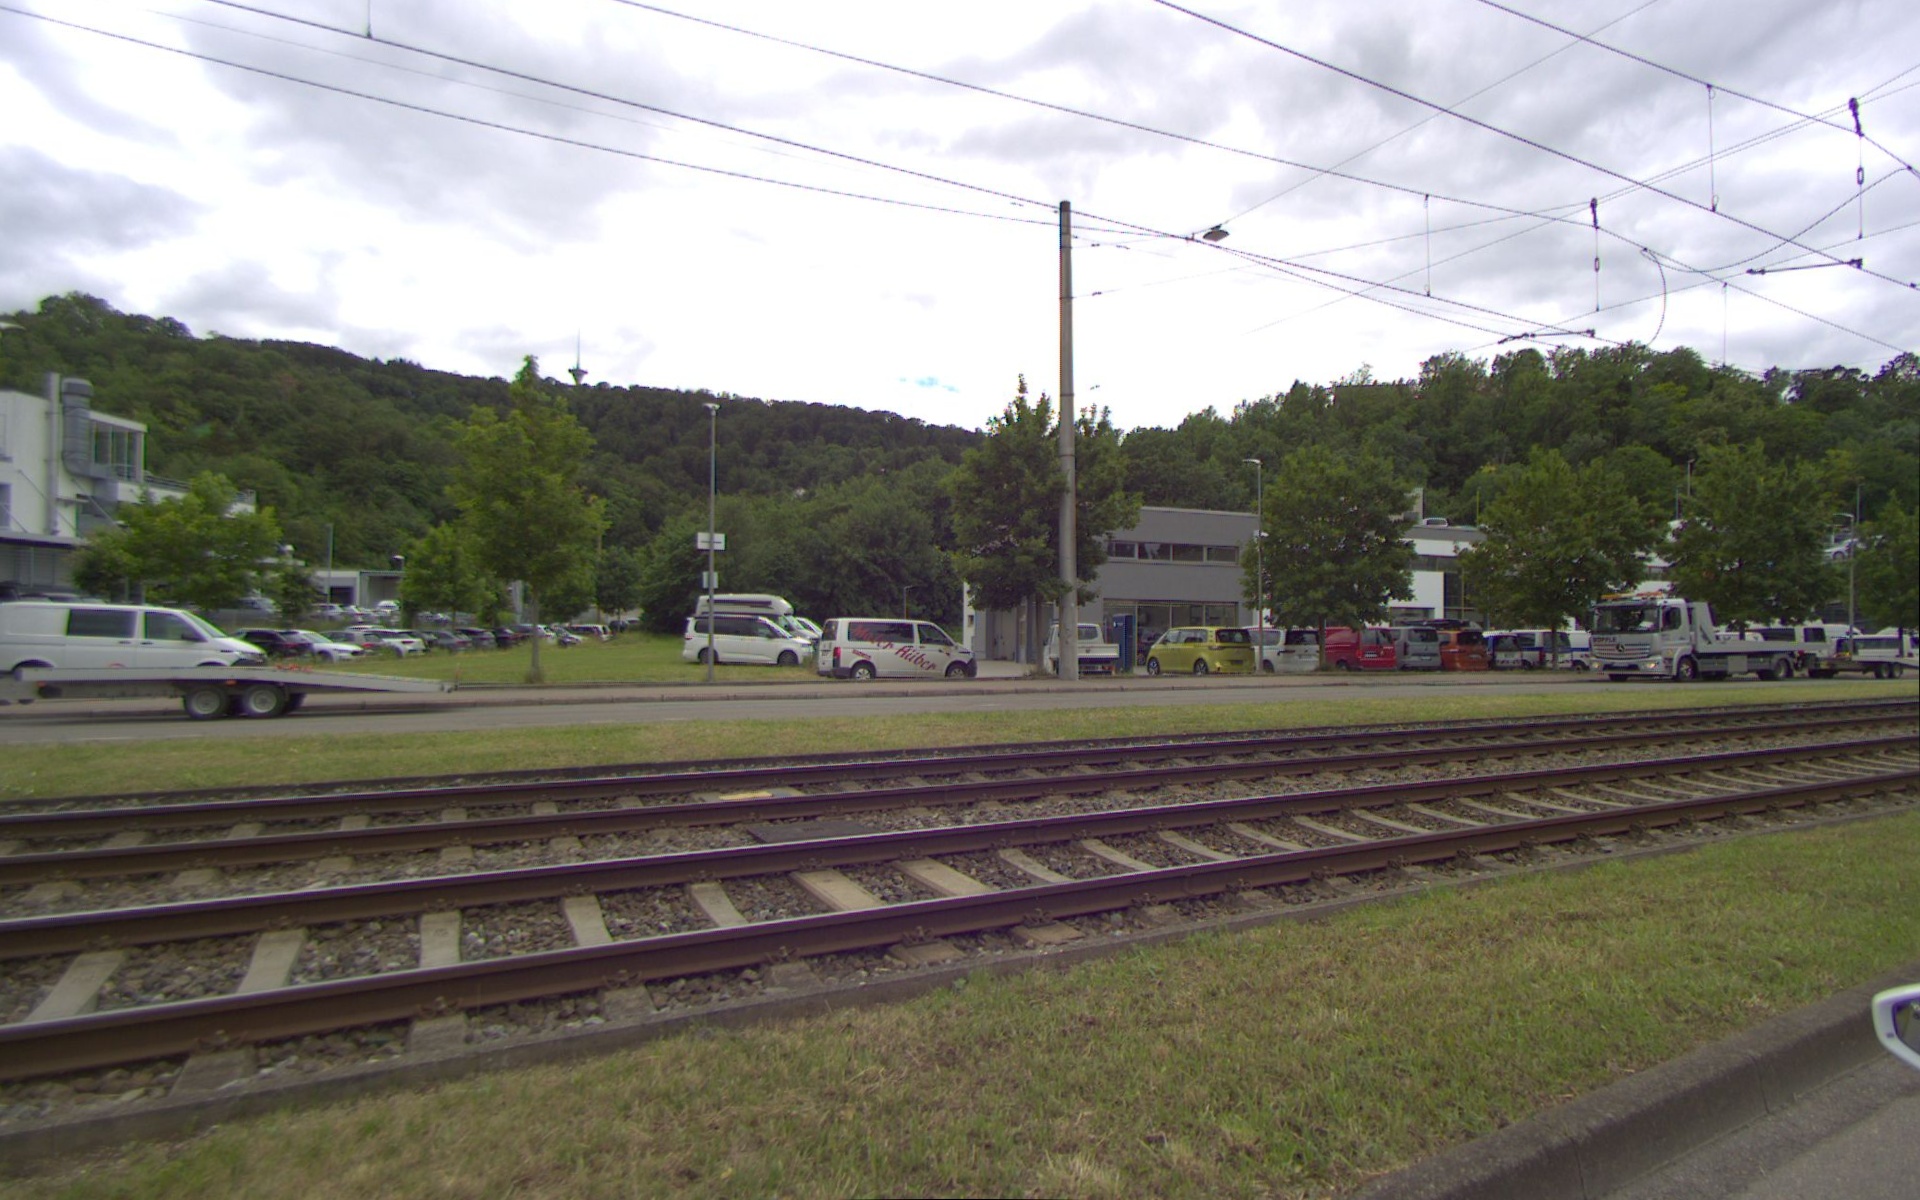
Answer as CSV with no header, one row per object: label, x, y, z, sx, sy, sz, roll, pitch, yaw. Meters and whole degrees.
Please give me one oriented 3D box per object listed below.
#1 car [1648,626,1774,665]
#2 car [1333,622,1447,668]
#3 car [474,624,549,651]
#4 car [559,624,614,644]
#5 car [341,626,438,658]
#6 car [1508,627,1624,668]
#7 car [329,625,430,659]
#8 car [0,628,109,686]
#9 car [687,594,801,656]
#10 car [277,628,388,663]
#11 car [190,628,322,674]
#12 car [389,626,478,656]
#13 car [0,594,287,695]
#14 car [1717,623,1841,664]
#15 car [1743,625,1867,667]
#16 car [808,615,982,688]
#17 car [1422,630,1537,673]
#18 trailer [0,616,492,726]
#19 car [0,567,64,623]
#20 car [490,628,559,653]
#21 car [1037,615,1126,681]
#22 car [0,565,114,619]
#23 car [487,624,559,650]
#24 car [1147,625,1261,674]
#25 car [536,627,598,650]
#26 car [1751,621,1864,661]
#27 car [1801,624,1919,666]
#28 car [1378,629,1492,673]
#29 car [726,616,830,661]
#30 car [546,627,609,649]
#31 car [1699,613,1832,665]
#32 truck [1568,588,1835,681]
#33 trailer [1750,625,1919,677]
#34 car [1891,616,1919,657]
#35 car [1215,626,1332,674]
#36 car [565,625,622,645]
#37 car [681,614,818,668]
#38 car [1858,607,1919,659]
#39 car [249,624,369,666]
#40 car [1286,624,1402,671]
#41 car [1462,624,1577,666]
car,35.094,2.089,47.052,2.002,1.711,4.357,1,-1,-22
car,16.860,1.747,39.574,2.015,1.686,3.985,1,-1,-18
car,-25.134,2.097,56.419,3.656,1.455,1.671,1,-1,-17
car,-28.921,2.635,77.895,3.646,1.455,1.675,1,-1,-7
car,-26.776,1.955,47.264,3.656,1.455,1.671,1,-1,-17
car,25.944,1.986,43.167,1.968,1.639,3.985,1,-1,-18
car,-26.194,1.891,45.456,3.656,1.455,1.671,1,-1,-17
car,-27.623,1.656,29.517,3.646,1.639,1.675,1,-1,-7
car,-9.915,1.159,46.359,4.765,2.741,2.000,1,-1,0
car,-26.627,1.921,42.723,3.656,1.455,1.671,1,-1,-17
car,-26.255,1.873,37.594,3.656,1.639,1.671,1,-1,-17
car,-26.377,2.037,50.445,3.656,1.455,1.671,1,-1,-17
car,-17.880,0.965,22.170,4.745,2.040,1.987,2,-1,-27
car,39.901,2.096,49.064,1.972,1.869,4.363,1,-1,-18
car,41.987,2.251,50.034,1.972,1.973,4.363,1,-1,-18
car,-1.923,1.507,29.976,4.795,2.040,1.988,1,-1,-25
car,21.256,2.065,41.286,1.968,1.639,3.985,1,-1,-18
trailer,-11.497,1.089,16.217,7.129,1.514,2.750,1,-4,-26
car,-36.938,-0.194,38.194,3.921,2.040,2.000,1,-1,0
car,-26.455,2.453,61.074,3.656,1.455,1.671,1,-1,-17
car,3.994,1.573,34.020,2.102,2.034,5.714,1,-2,-2
car,-36.816,-0.308,40.351,3.921,2.040,2.000,1,-1,0
car,-25.438,2.173,58.547,3.656,1.455,1.671,1,-1,-17
car,8.757,1.746,36.464,2.120,1.639,4.334,1,-1,-18
car,-25.335,2.468,64.819,3.662,1.455,1.668,1,-1,-22
car,58.122,2.777,68.989,5.867,2.636,1.994,0,-1,42
car,46.637,2.290,52.020,1.976,2.037,4.356,1,-1,-23
car,19.019,2.011,40.428,1.968,1.639,3.985,1,-1,-18
car,-9.094,1.916,50.467,4.763,2.156,2.001,1,-1,3
car,-25.837,2.548,67.983,3.646,1.455,1.675,1,-1,-7
car,37.893,1.791,47.387,2.092,2.342,4.493,1,-1,-18
truck,24.333,1.177,32.883,9.086,2.777,2.751,1,-3,-23
trailer,31.668,1.831,35.859,6.847,1.720,2.378,1,-3,-22
car,53.116,1.984,53.797,1.976,2.201,4.356,1,-1,-23
car,11.612,1.818,37.574,2.086,1.639,4.343,1,-1,-18
car,-27.089,2.575,74.247,3.646,1.455,1.675,1,-1,-7
car,-8.249,1.609,39.754,5.034,2.040,1.999,1,-1,-3
car,50.778,1.735,52.763,2.085,2.734,4.955,1,-1,-23
car,-26.045,1.796,40.316,3.656,1.639,1.671,1,-1,-17
car,14.566,1.778,38.355,2.030,1.639,4.176,1,-1,-18
car,23.363,1.840,42.118,1.968,1.639,3.985,1,-1,-18
